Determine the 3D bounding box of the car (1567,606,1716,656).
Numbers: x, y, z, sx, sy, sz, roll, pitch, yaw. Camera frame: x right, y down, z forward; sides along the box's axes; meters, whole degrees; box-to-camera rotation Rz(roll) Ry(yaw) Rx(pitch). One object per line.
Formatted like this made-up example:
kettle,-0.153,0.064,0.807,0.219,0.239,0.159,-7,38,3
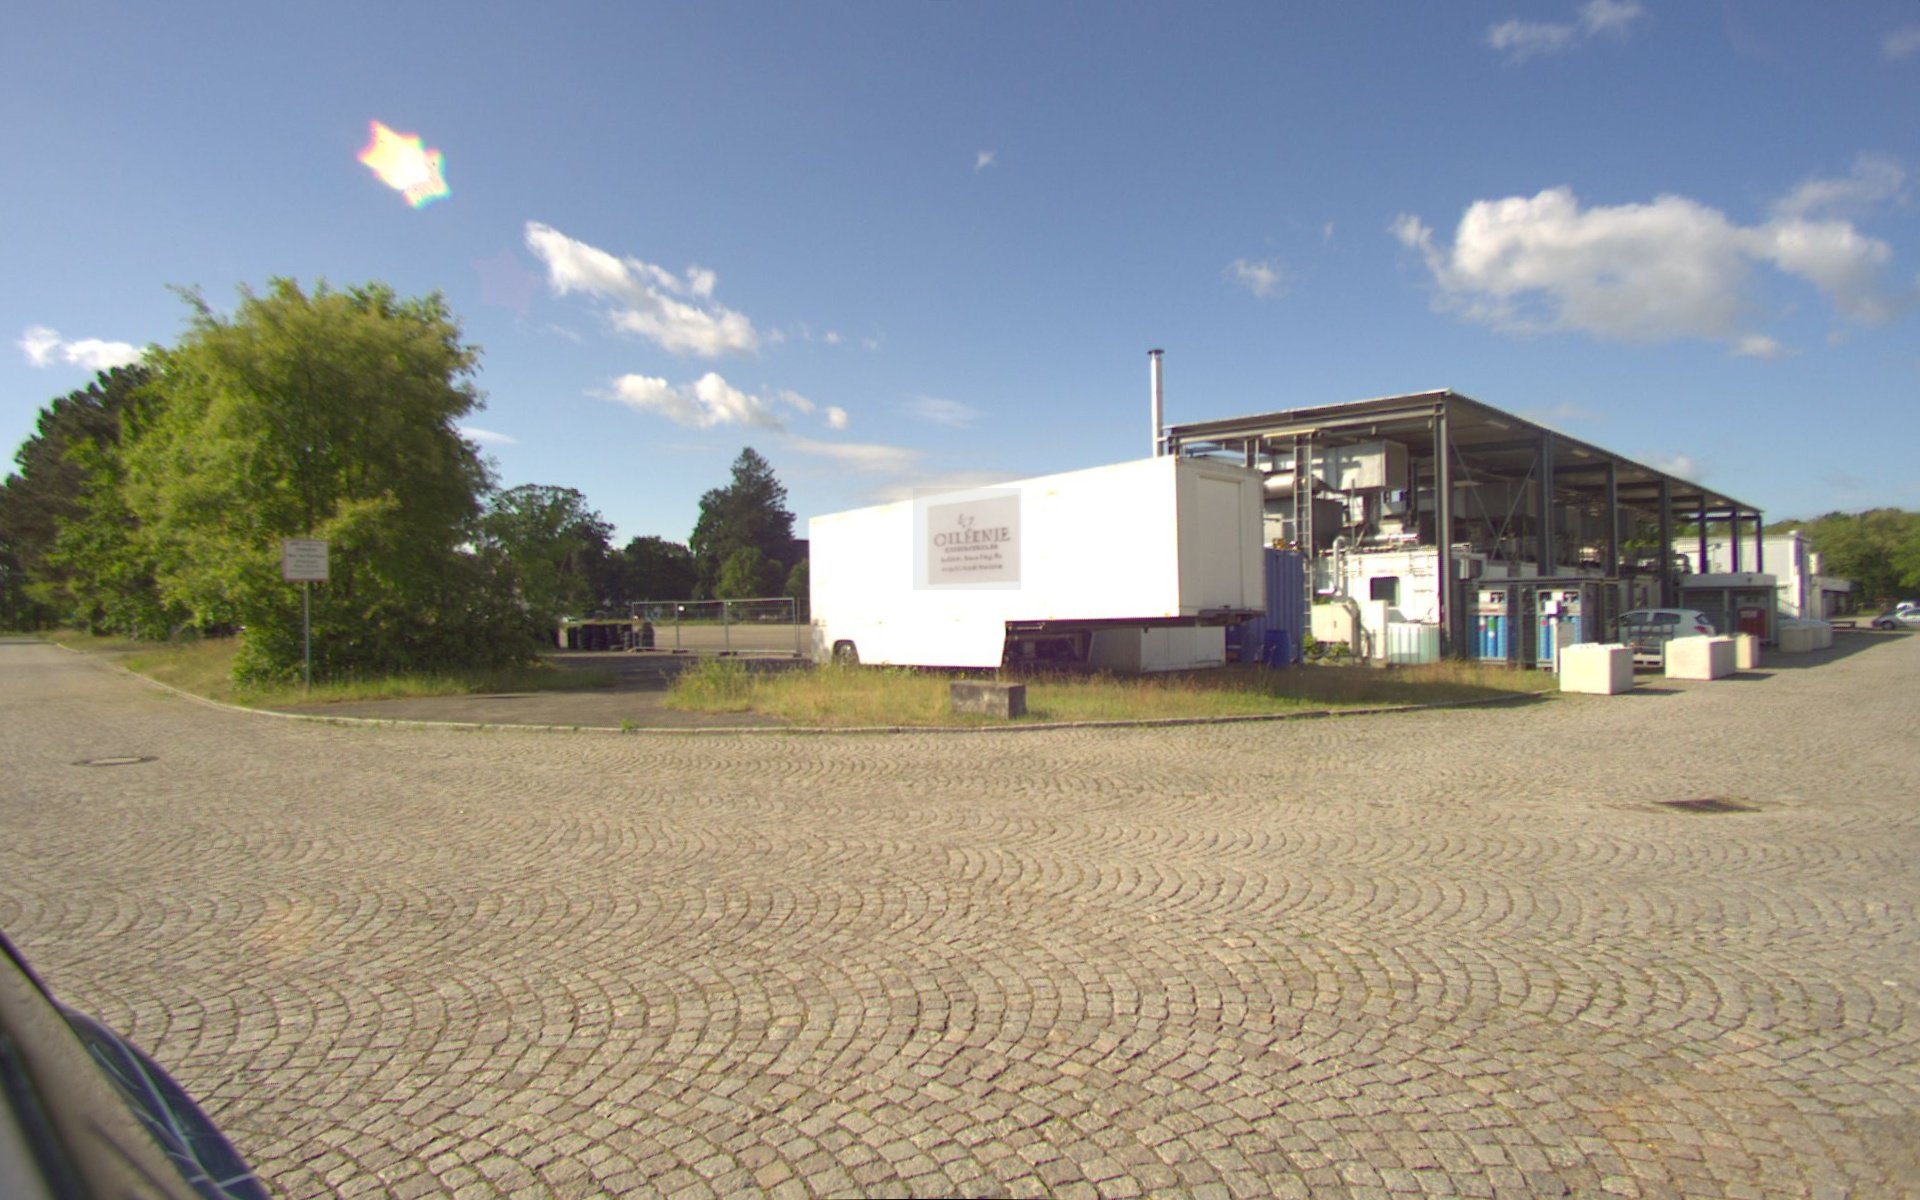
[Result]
car,20.200,0.910,30.068,3.474,1.386,1.588,-2,-2,43

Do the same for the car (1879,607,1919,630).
car,62.164,1.161,65.144,1.715,1.481,4.361,1,-2,-45

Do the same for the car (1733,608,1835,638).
car,39.773,1.109,48.917,3.698,1.419,1.651,-2,-2,44

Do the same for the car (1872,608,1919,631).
car,59.722,1.229,63.082,1.715,1.414,4.190,1,-2,-45

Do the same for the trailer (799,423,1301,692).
trailer,0.958,-0.514,19.807,2.738,3.940,10.901,0,-1,-41
